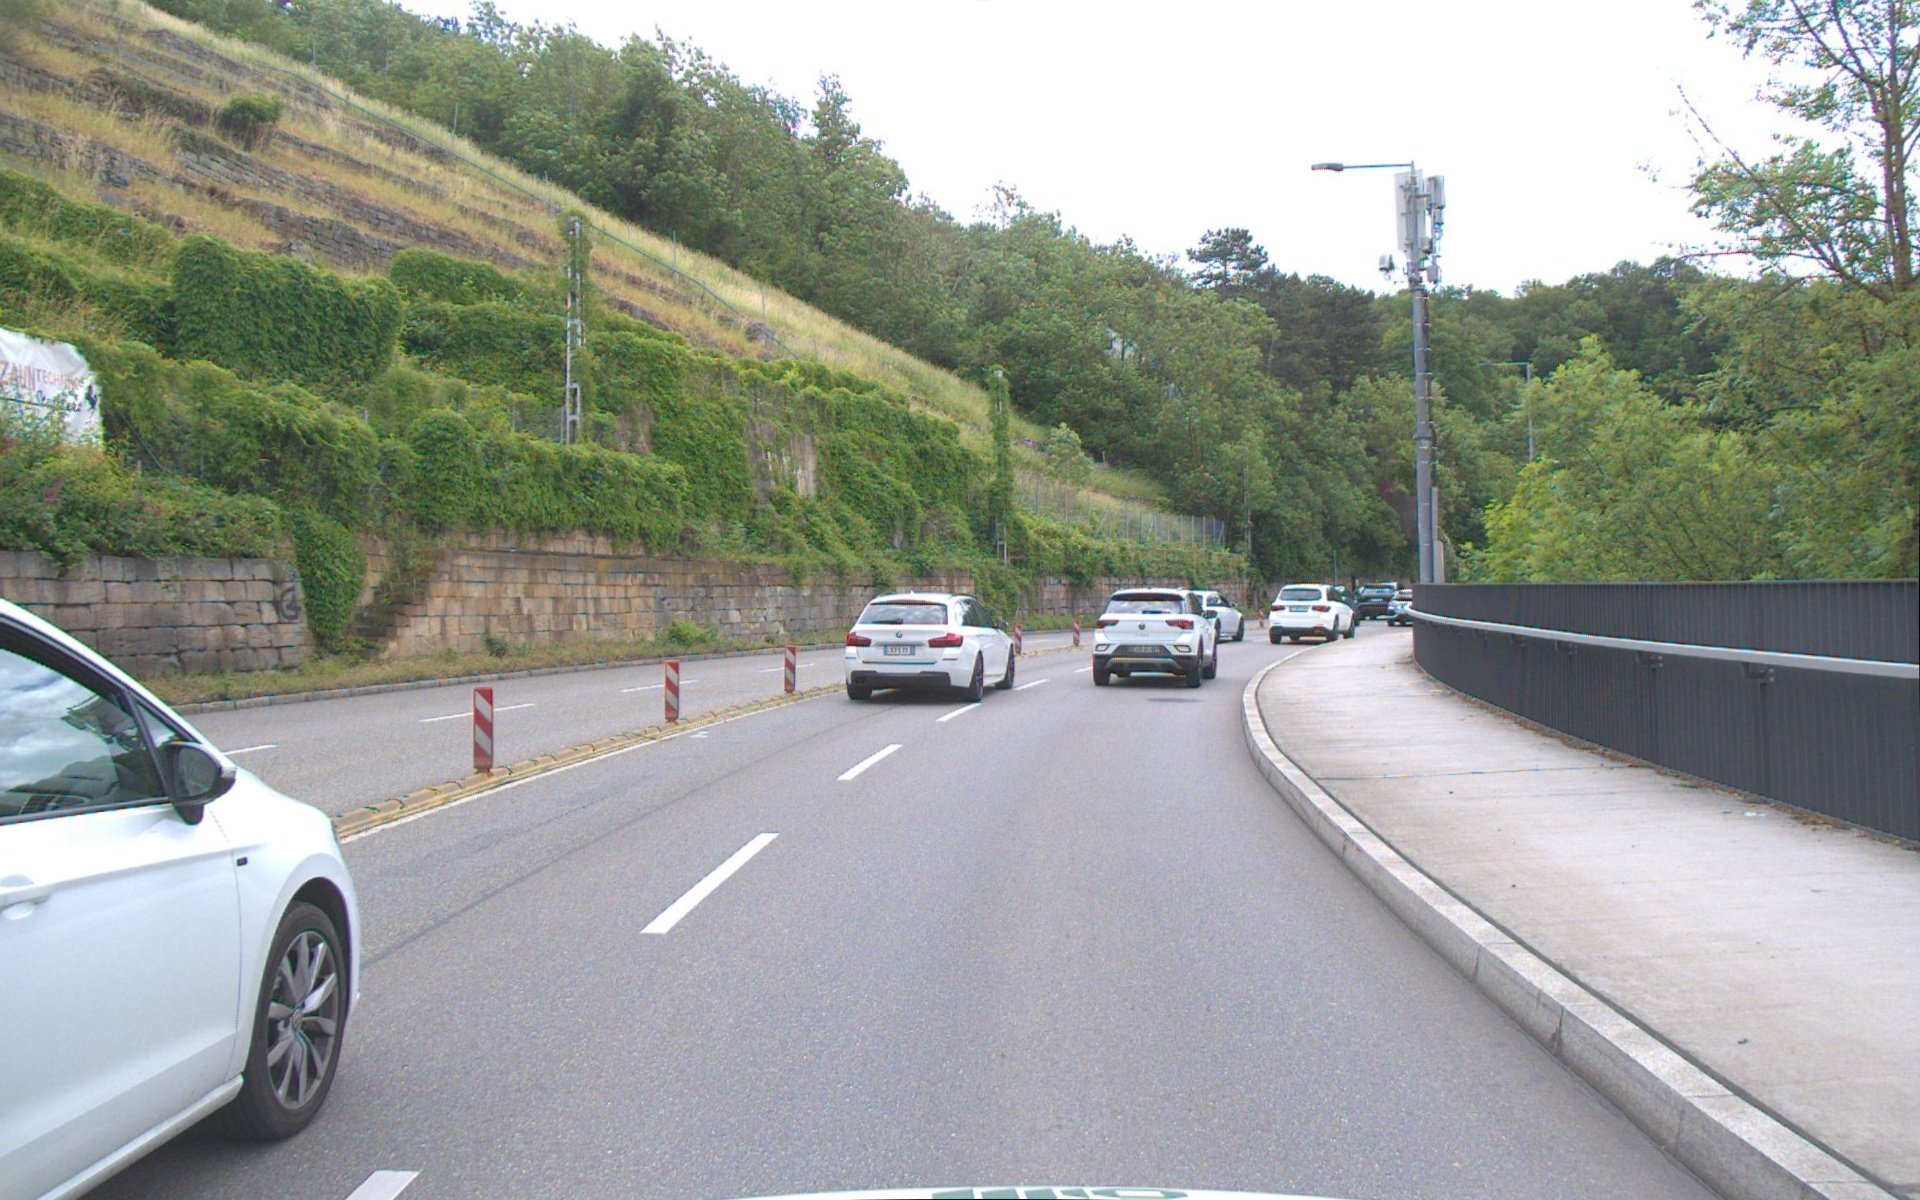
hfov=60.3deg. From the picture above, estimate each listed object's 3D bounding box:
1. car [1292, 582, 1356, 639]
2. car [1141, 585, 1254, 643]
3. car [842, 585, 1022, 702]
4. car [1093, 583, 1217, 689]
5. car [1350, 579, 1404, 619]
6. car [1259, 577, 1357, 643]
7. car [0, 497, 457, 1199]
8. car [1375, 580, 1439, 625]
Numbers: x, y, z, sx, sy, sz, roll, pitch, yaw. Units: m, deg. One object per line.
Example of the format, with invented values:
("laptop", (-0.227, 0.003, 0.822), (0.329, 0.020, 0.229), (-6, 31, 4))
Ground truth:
("car", (14.343, 0.414, 65.034), (1.952, 2.049, 4.002), (-4, -1, 19))
("car", (6.799, 0.375, 46.931), (1.953, 1.529, 4.665), (-1, -1, 24))
("car", (-0.296, 0.600, 23.923), (1.789, 1.485, 4.489), (1, -1, 9))
("car", (3.361, 0.543, 27.884), (1.789, 1.633, 4.004), (0, 1, 11))
("car", (18.785, -0.024, 74.475), (1.952, 1.747, 4.001), (0, 0, 20))
("car", (9.912, 0.284, 46.923), (1.953, 1.748, 4.112), (-1, -1, 23))
("car", (-2.526, 0.622, 3.059), (1.783, 1.608, 4.356), (0, 0, 1))
("car", (17.755, 0.097, 65.607), (1.953, 1.747, 3.999), (0, 0, 23))
